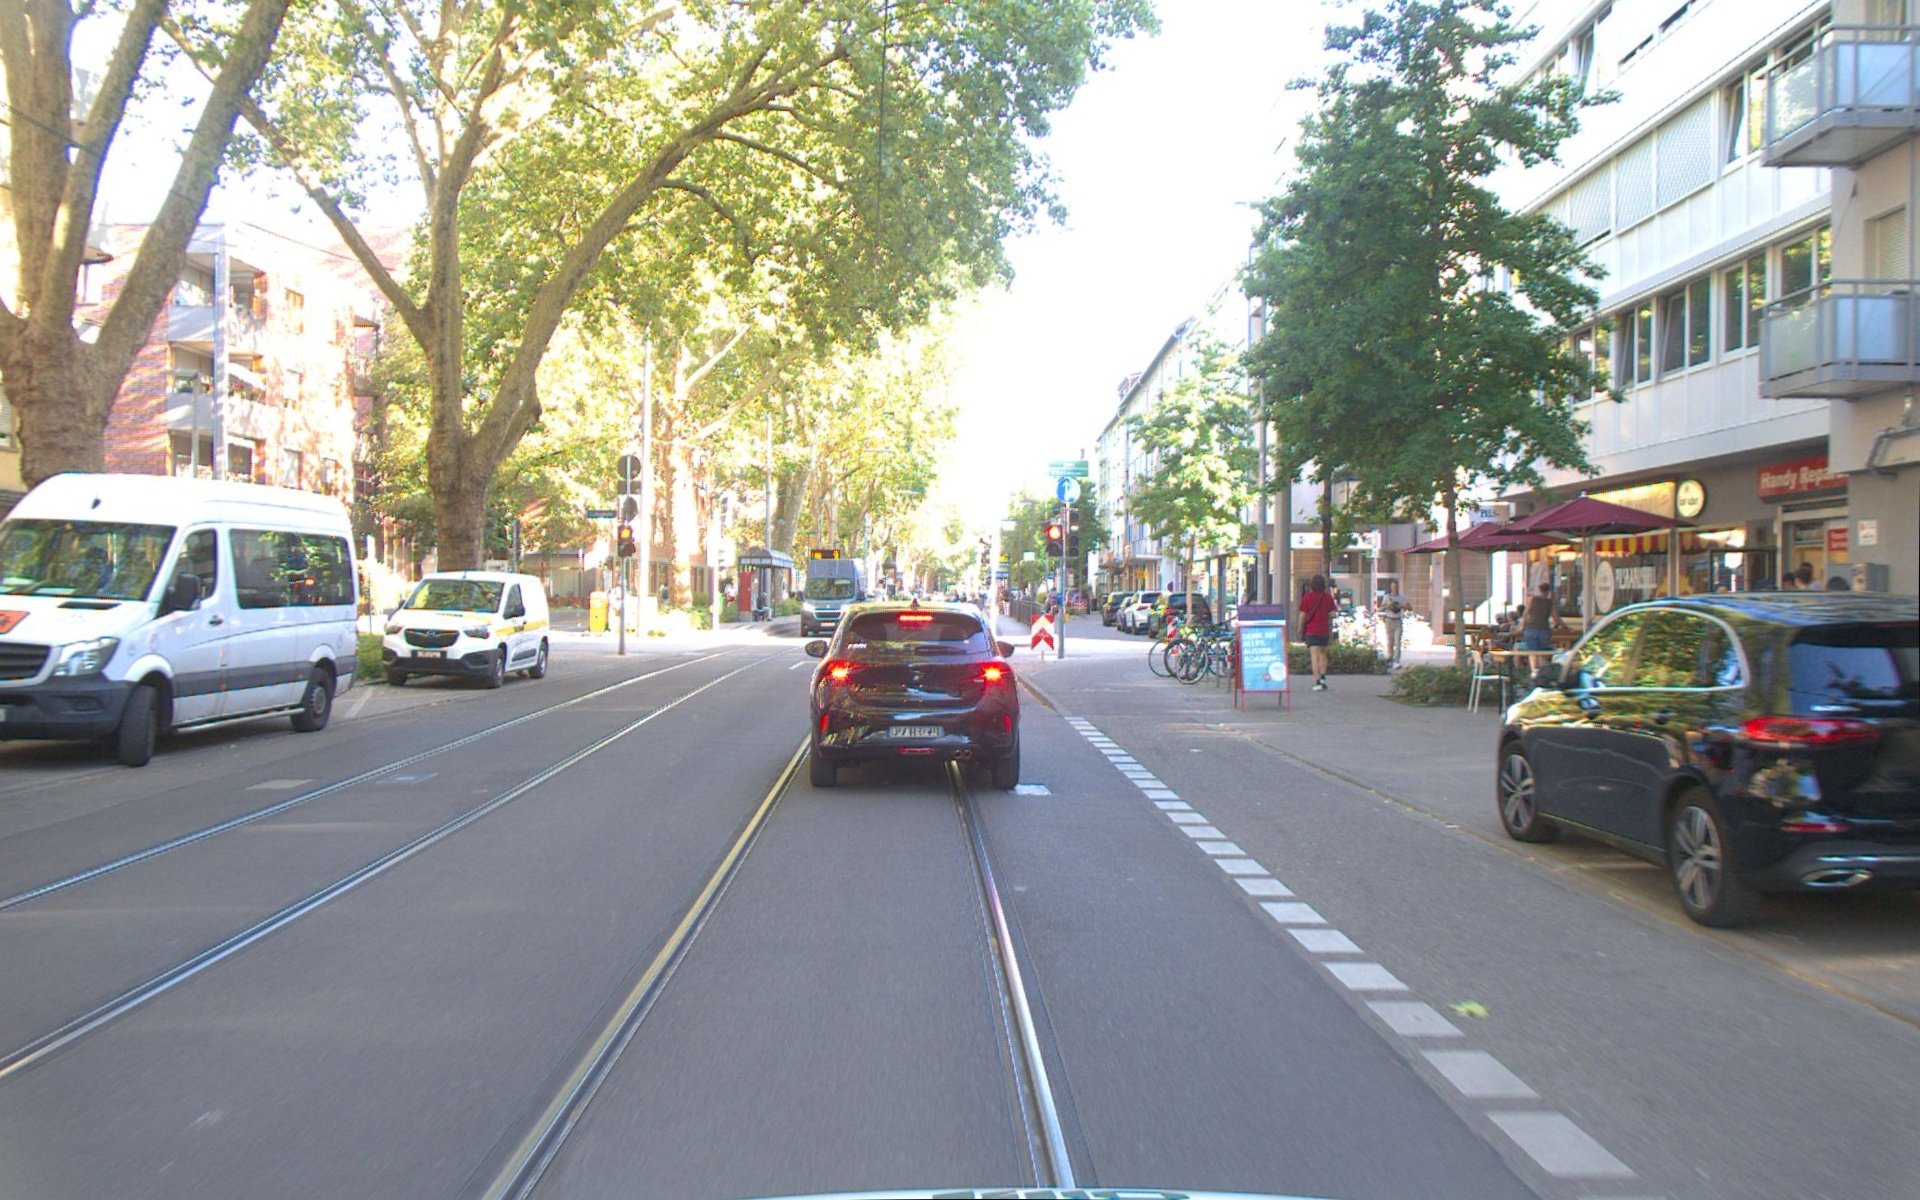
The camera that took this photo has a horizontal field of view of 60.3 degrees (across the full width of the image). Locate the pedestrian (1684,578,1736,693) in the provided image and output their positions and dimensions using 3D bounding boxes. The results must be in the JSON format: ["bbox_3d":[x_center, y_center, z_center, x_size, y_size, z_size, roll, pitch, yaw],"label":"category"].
[{"bbox_3d":[11.010,0.515,24.286,0.502,1.657,0.511,2,-1,-38],"label":"pedestrian"}]

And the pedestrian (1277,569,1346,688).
[{"bbox_3d":[5.449,0.439,25.622,0.857,1.789,1.048,1,-1,22],"label":"pedestrian"}]

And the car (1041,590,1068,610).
[{"bbox_3d":[7.695,-0.001,134.634,1.952,1.512,4.000,1,0,0],"label":"car"}]

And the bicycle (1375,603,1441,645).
[{"bbox_3d":[13.587,0.733,50.183,1.876,1.229,0.510,1,-1,-4],"label":"bicycle"}]

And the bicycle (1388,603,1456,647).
[{"bbox_3d":[13.655,0.733,48.908,1.876,1.228,0.511,1,1,-4],"label":"bicycle"}]

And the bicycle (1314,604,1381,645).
[{"bbox_3d":[11.539,0.729,49.277,1.876,1.229,0.511,0,0,-4],"label":"bicycle"}]

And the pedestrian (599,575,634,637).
[{"bbox_3d":[-10.596,0.184,51.042,0.905,1.867,0.920,1,2,-4],"label":"pedestrian"}]

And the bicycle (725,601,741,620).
[{"bbox_3d":[-14.348,0.664,104.553,0.766,1.130,2.595,1,0,-2],"label":"bicycle"}]

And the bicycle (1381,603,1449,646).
[{"bbox_3d":[13.618,0.725,49.521,1.876,1.229,0.511,2,-1,-4],"label":"bicycle"}]

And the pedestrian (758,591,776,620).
[{"bbox_3d":[-8.064,0.232,69.176,0.691,1.189,0.659,-1,0,-3],"label":"pedestrian"}]

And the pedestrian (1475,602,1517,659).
[{"bbox_3d":[10.593,0.597,32.715,0.629,1.098,0.521,1,-1,-2],"label":"pedestrian"}]

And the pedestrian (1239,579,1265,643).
[{"bbox_3d":[7.310,0.282,41.414,0.539,1.589,0.645,1,-1,4],"label":"pedestrian"}]

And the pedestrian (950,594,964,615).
[{"bbox_3d":[-0.293,0.401,148.640,1.141,1.779,0.957,1,-1,-5],"label":"pedestrian"}]

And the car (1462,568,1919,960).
[{"bbox_3d":[4.360,0.681,9.214,1.723,1.615,4.328,-3,0,0],"label":"car"}]

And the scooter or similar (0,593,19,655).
[{"bbox_3d":[-18.559,0.454,31.677,0.629,1.187,0.675,1,-1,26],"label":"scooter or similar"}]

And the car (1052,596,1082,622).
[{"bbox_3d":[7.899,0.693,122.474,1.953,1.829,3.999,1,0,0],"label":"car"}]

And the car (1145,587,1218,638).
[{"bbox_3d":[7.718,0.424,58.021,1.952,1.644,4.445,-2,0,0],"label":"car"}]

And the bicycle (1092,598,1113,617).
[{"bbox_3d":[8.738,0.463,101.500,0.610,1.156,2.433,1,0,-10],"label":"bicycle"}]

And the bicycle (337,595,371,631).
[{"bbox_3d":[-19.694,0.417,53.762,0.530,1.103,1.537,1,2,-1],"label":"bicycle"}]

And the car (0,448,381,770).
[{"bbox_3d":[-7.992,0.075,16.583,2.064,2.622,6.024,1,0,1],"label":"car"}]

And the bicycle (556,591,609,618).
[{"bbox_3d":[-17.756,0.200,77.765,2.292,1.186,0.682,2,-1,1],"label":"bicycle"}]

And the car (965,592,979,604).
[{"bbox_3d":[1.506,-0.251,212.735,1.710,1.571,3.999,1,0,-1],"label":"car"}]

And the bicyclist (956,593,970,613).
[{"bbox_3d":[0.252,0.252,151.238,1.141,1.779,0.957,1,-1,-5],"label":"bicyclist"}]

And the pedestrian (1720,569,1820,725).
[{"bbox_3d":[8.971,0.505,18.337,0.629,1.666,0.869,-1,0,-2],"label":"pedestrian"}]

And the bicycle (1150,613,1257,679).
[{"bbox_3d":[4.289,0.807,29.185,1.781,1.119,0.497,1,-1,-8],"label":"bicycle"}]

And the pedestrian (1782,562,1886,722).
[{"bbox_3d":[9.695,0.456,18.374,0.584,1.707,0.934,-2,0,-2],"label":"pedestrian"}]

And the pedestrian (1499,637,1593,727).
[{"bbox_3d":[7.149,0.986,20.216,0.977,1.045,0.662,1,-1,12],"label":"pedestrian"}]

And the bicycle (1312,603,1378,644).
[{"bbox_3d":[11.586,0.707,49.834,1.876,1.229,0.511,0,0,-4],"label":"bicycle"}]

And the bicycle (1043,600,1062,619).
[{"bbox_3d":[5.739,0.576,102.847,0.844,1.156,2.393,1,0,-6],"label":"bicycle"}]

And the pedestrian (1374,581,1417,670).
[{"bbox_3d":[9.011,0.522,34.221,0.578,1.815,0.995,1,-1,-1],"label":"pedestrian"}]

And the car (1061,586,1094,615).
[{"bbox_3d":[8.184,0.055,115.736,1.953,1.986,3.999,1,0,0],"label":"car"}]

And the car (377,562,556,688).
[{"bbox_3d":[-8.059,0.399,27.418,1.727,1.883,4.317,1,0,-2],"label":"car"}]

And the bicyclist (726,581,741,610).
[{"bbox_3d":[-14.304,-0.292,104.449,0.759,1.780,0.997,1,-1,-2],"label":"bicyclist"}]

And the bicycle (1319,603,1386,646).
[{"bbox_3d":[11.559,0.717,48.743,1.876,1.228,0.511,0,1,-4],"label":"bicycle"}]

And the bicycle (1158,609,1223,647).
[{"bbox_3d":[7.612,0.918,54.673,2.081,1.208,0.681,1,-1,8],"label":"bicycle"}]

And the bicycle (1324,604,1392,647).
[{"bbox_3d":[11.592,0.738,48.201,1.876,1.228,0.511,0,1,-4],"label":"bicycle"}]

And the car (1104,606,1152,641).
[{"bbox_3d":[7.280,1.000,71.985,1.708,1.465,4.247,1,0,1],"label":"car"}]

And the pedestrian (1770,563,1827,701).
[{"bbox_3d":[11.383,0.433,22.441,0.518,1.837,0.627,1,-1,43],"label":"pedestrian"}]

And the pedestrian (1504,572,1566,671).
[{"bbox_3d":[10.081,0.373,29.013,0.796,1.688,0.678,1,-1,-6],"label":"pedestrian"}]

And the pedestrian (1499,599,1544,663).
[{"bbox_3d":[10.678,0.590,31.448,0.645,1.196,0.521,1,-1,-2],"label":"pedestrian"}]

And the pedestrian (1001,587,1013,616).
[{"bbox_3d":[2.701,0.075,95.302,0.618,1.603,0.871,3,0,0],"label":"pedestrian"}]

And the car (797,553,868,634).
[{"bbox_3d":[-4.546,-0.208,59.807,2.070,2.786,6.114,0,0,0],"label":"car"}]

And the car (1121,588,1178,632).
[{"bbox_3d":[7.472,0.410,65.414,1.762,1.634,4.415,1,0,1],"label":"car"}]

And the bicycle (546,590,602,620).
[{"bbox_3d":[-17.934,0.232,76.892,2.407,1.240,0.682,3,-1,1],"label":"bicycle"}]

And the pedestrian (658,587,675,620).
[{"bbox_3d":[-15.484,0.168,87.295,0.720,1.701,0.861,1,-1,0],"label":"pedestrian"}]

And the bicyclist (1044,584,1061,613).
[{"bbox_3d":[5.758,-0.102,102.769,0.844,1.790,1.052,1,-1,-6],"label":"bicyclist"}]

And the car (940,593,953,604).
[{"bbox_3d":[-1.938,-0.216,235.013,1.710,1.571,3.999,1,0,-1],"label":"car"}]

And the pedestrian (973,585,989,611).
[{"bbox_3d":[1.449,-0.142,114.417,0.736,1.739,0.760,1,-1,35],"label":"pedestrian"}]

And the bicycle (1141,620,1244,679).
[{"bbox_3d":[4.218,0.896,30.059,1.779,1.011,0.481,1,-1,-2],"label":"bicycle"}]

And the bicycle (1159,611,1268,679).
[{"bbox_3d":[4.385,0.780,28.640,1.781,1.119,0.480,1,-1,-8],"label":"bicycle"}]

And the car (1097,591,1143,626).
[{"bbox_3d":[7.817,0.408,81.229,1.819,1.644,4.398,1,0,1],"label":"car"}]

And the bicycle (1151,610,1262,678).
[{"bbox_3d":[4.140,0.731,27.818,1.778,1.119,0.525,0,-1,-1],"label":"bicycle"}]

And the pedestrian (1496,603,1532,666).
[{"bbox_3d":[11.900,0.734,35.534,0.524,1.310,0.715,1,-1,1],"label":"pedestrian"}]

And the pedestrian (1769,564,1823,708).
[{"bbox_3d":[10.806,0.462,21.389,0.422,1.827,0.489,1,-1,-1],"label":"pedestrian"}]

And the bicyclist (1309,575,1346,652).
[{"bbox_3d":[8.572,0.317,38.612,0.663,1.747,0.965,1,-1,2],"label":"bicyclist"}]

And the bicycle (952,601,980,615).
[{"bbox_3d":[0.538,0.720,151.262,2.432,1.262,0.957,1,-1,-5],"label":"bicycle"}]

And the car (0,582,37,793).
[{"bbox_3d":[-8.122,0.629,10.716,1.877,1.589,4.283,1,0,-1],"label":"car"}]

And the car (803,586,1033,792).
[{"bbox_3d":[-0.364,0.676,14.227,1.724,1.534,3.682,0,0,-2],"label":"car"}]
